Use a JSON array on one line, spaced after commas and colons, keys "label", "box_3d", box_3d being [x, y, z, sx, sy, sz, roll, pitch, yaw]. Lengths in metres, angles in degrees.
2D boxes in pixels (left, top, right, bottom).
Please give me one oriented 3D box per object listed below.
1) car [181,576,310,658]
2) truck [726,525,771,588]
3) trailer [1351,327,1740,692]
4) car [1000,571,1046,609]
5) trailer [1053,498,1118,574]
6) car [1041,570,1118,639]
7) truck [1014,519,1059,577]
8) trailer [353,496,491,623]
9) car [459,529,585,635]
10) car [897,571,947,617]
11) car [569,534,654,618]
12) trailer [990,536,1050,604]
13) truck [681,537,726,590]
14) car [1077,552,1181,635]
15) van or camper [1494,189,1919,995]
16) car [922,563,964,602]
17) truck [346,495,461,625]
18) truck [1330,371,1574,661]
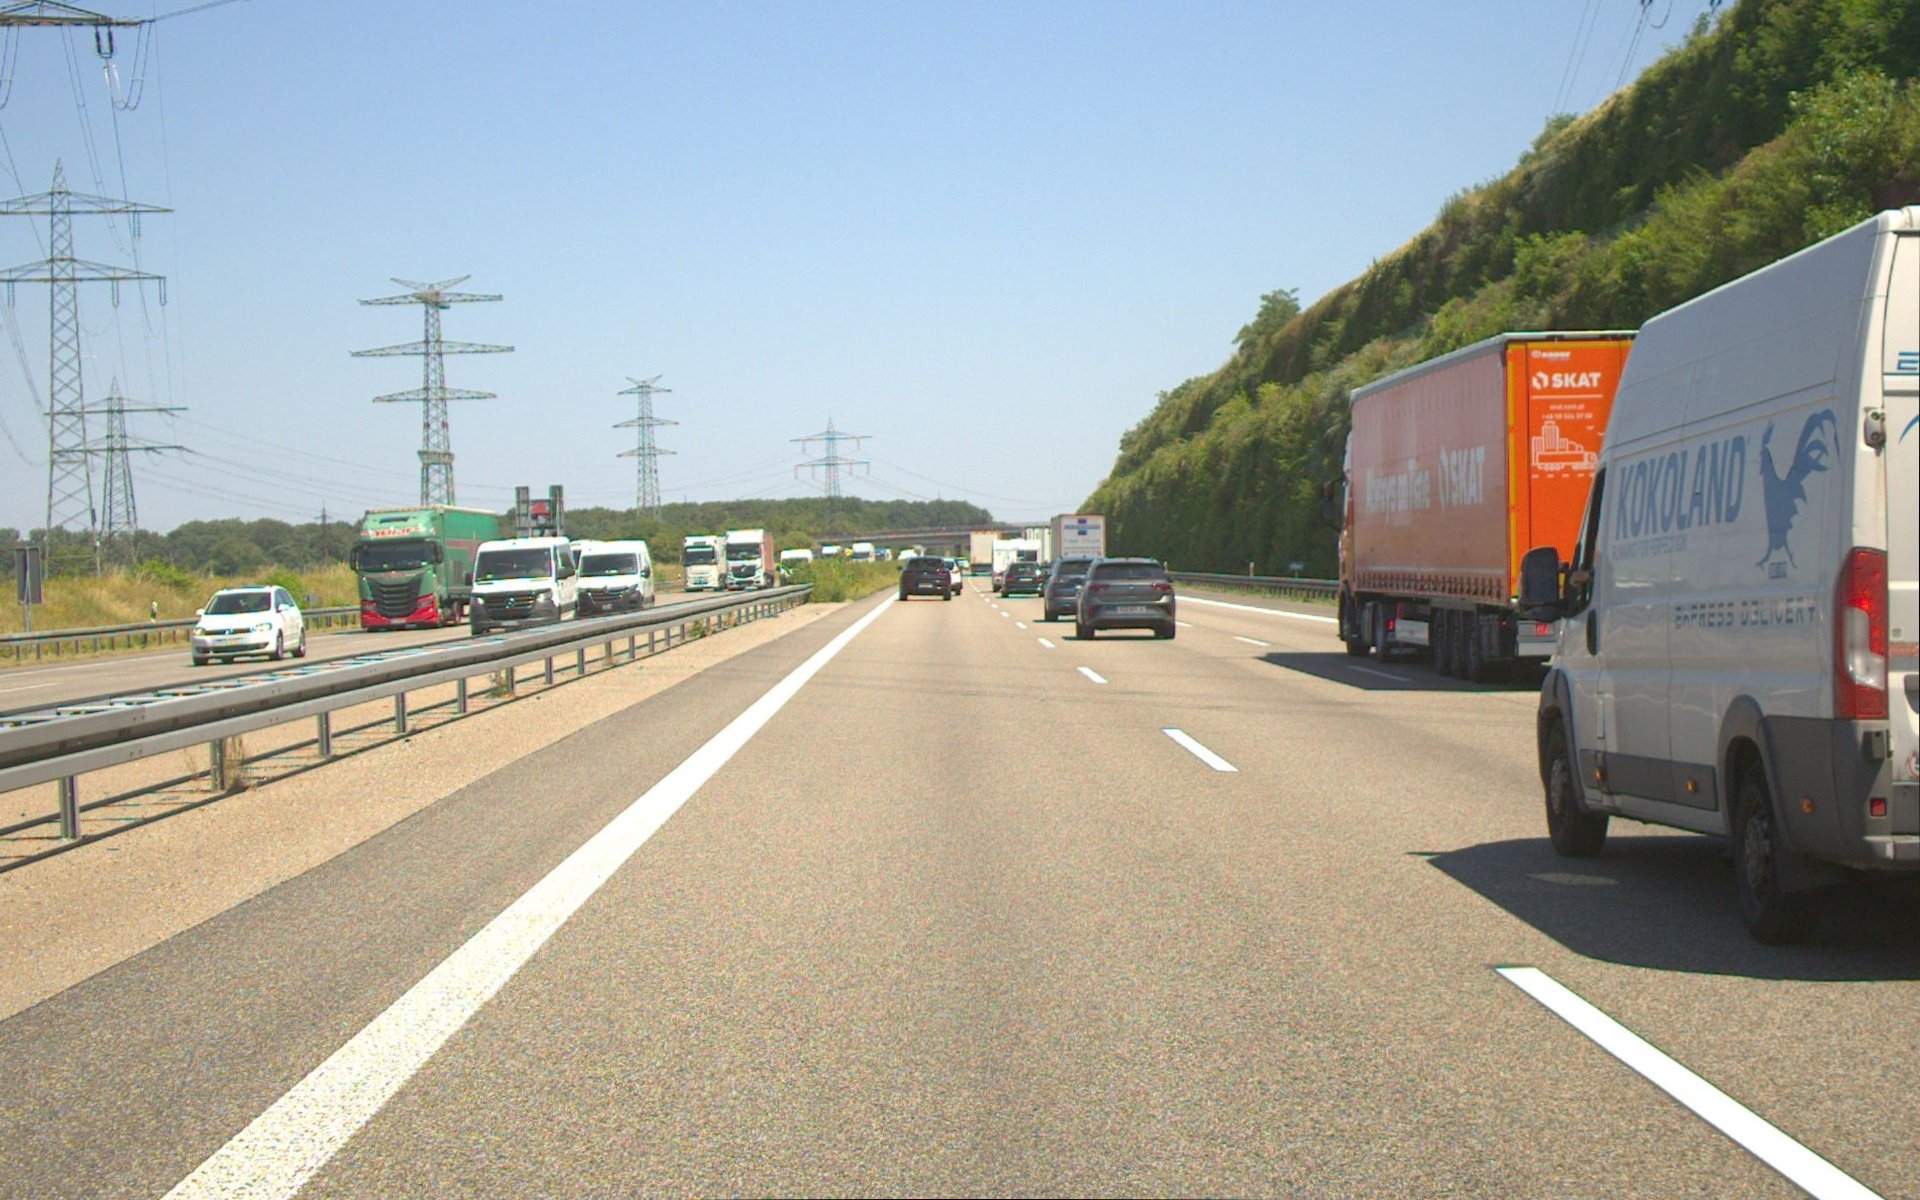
[{"label": "car", "box_3d": [-14.735, 0.332, 71.100, 1.707, 1.518, 4.514, -4, 1, -1]}, {"label": "truck", "box_3d": [-14.559, -3.021, 236.609, 2.600, 4.197, 5.909, -2, 1, 0]}, {"label": "trailer", "box_3d": [7.197, -1.074, 44.487, 2.645, 3.991, 13.606, 0, 1, 0]}, {"label": "car", "box_3d": [2.599, -0.421, 142.674, 1.830, 1.520, 4.000, -2, 1, 1]}, {"label": "trailer", "box_3d": [7.114, -3.607, 196.923, 3.183, 4.107, 13.431, -1, 1, 0]}, {"label": "car", "box_3d": [2.972, 0.091, 86.243, 1.794, 1.647, 4.138, -1, 1, 0]}, {"label": "truck", "box_3d": [5.801, -3.938, 263.031, 3.119, 4.265, 11.933, -1, 1, 0]}, {"label": "trailer", "box_3d": [-18.557, -1.406, 119.464, 2.669, 4.071, 13.917, -2, 1, -1]}, {"label": "car", "box_3d": [-10.102, -0.442, 79.844, 2.108, 2.290, 6.707, -2, 1, -1]}, {"label": "car", "box_3d": [-1.454, -0.246, 132.774, 1.830, 1.665, 4.000, -2, 1, 0]}, {"label": "car", "box_3d": [-10.701, -0.763, 105.908, 2.047, 2.430, 6.070, -2, 1, -1]}, {"label": "trailer", "box_3d": [2.903, -1.471, 167.870, 2.610, 3.202, 9.953, -1, 1, 0]}, {"label": "truck", "box_3d": [-18.852, -2.719, 253.348, 2.835, 3.738, 6.850, -2, 1, -1]}, {"label": "car", "box_3d": [3.230, -0.140, 66.217, 1.749, 1.520, 3.995, -1, 1, 0]}, {"label": "van or camper", "box_3d": [3.989, -0.078, 15.170, 2.096, 2.759, 6.757, 0, 1, -1]}, {"label": "car", "box_3d": [-0.751, -0.795, 152.143, 1.830, 1.665, 4.000, -2, 1, 0]}, {"label": "truck", "box_3d": [-18.473, -1.322, 114.397, 2.699, 4.120, 6.581, -2, 1, -1]}, {"label": "truck", "box_3d": [7.165, -1.203, 50.875, 2.618, 3.979, 6.527, -1, 1, 0]}]
